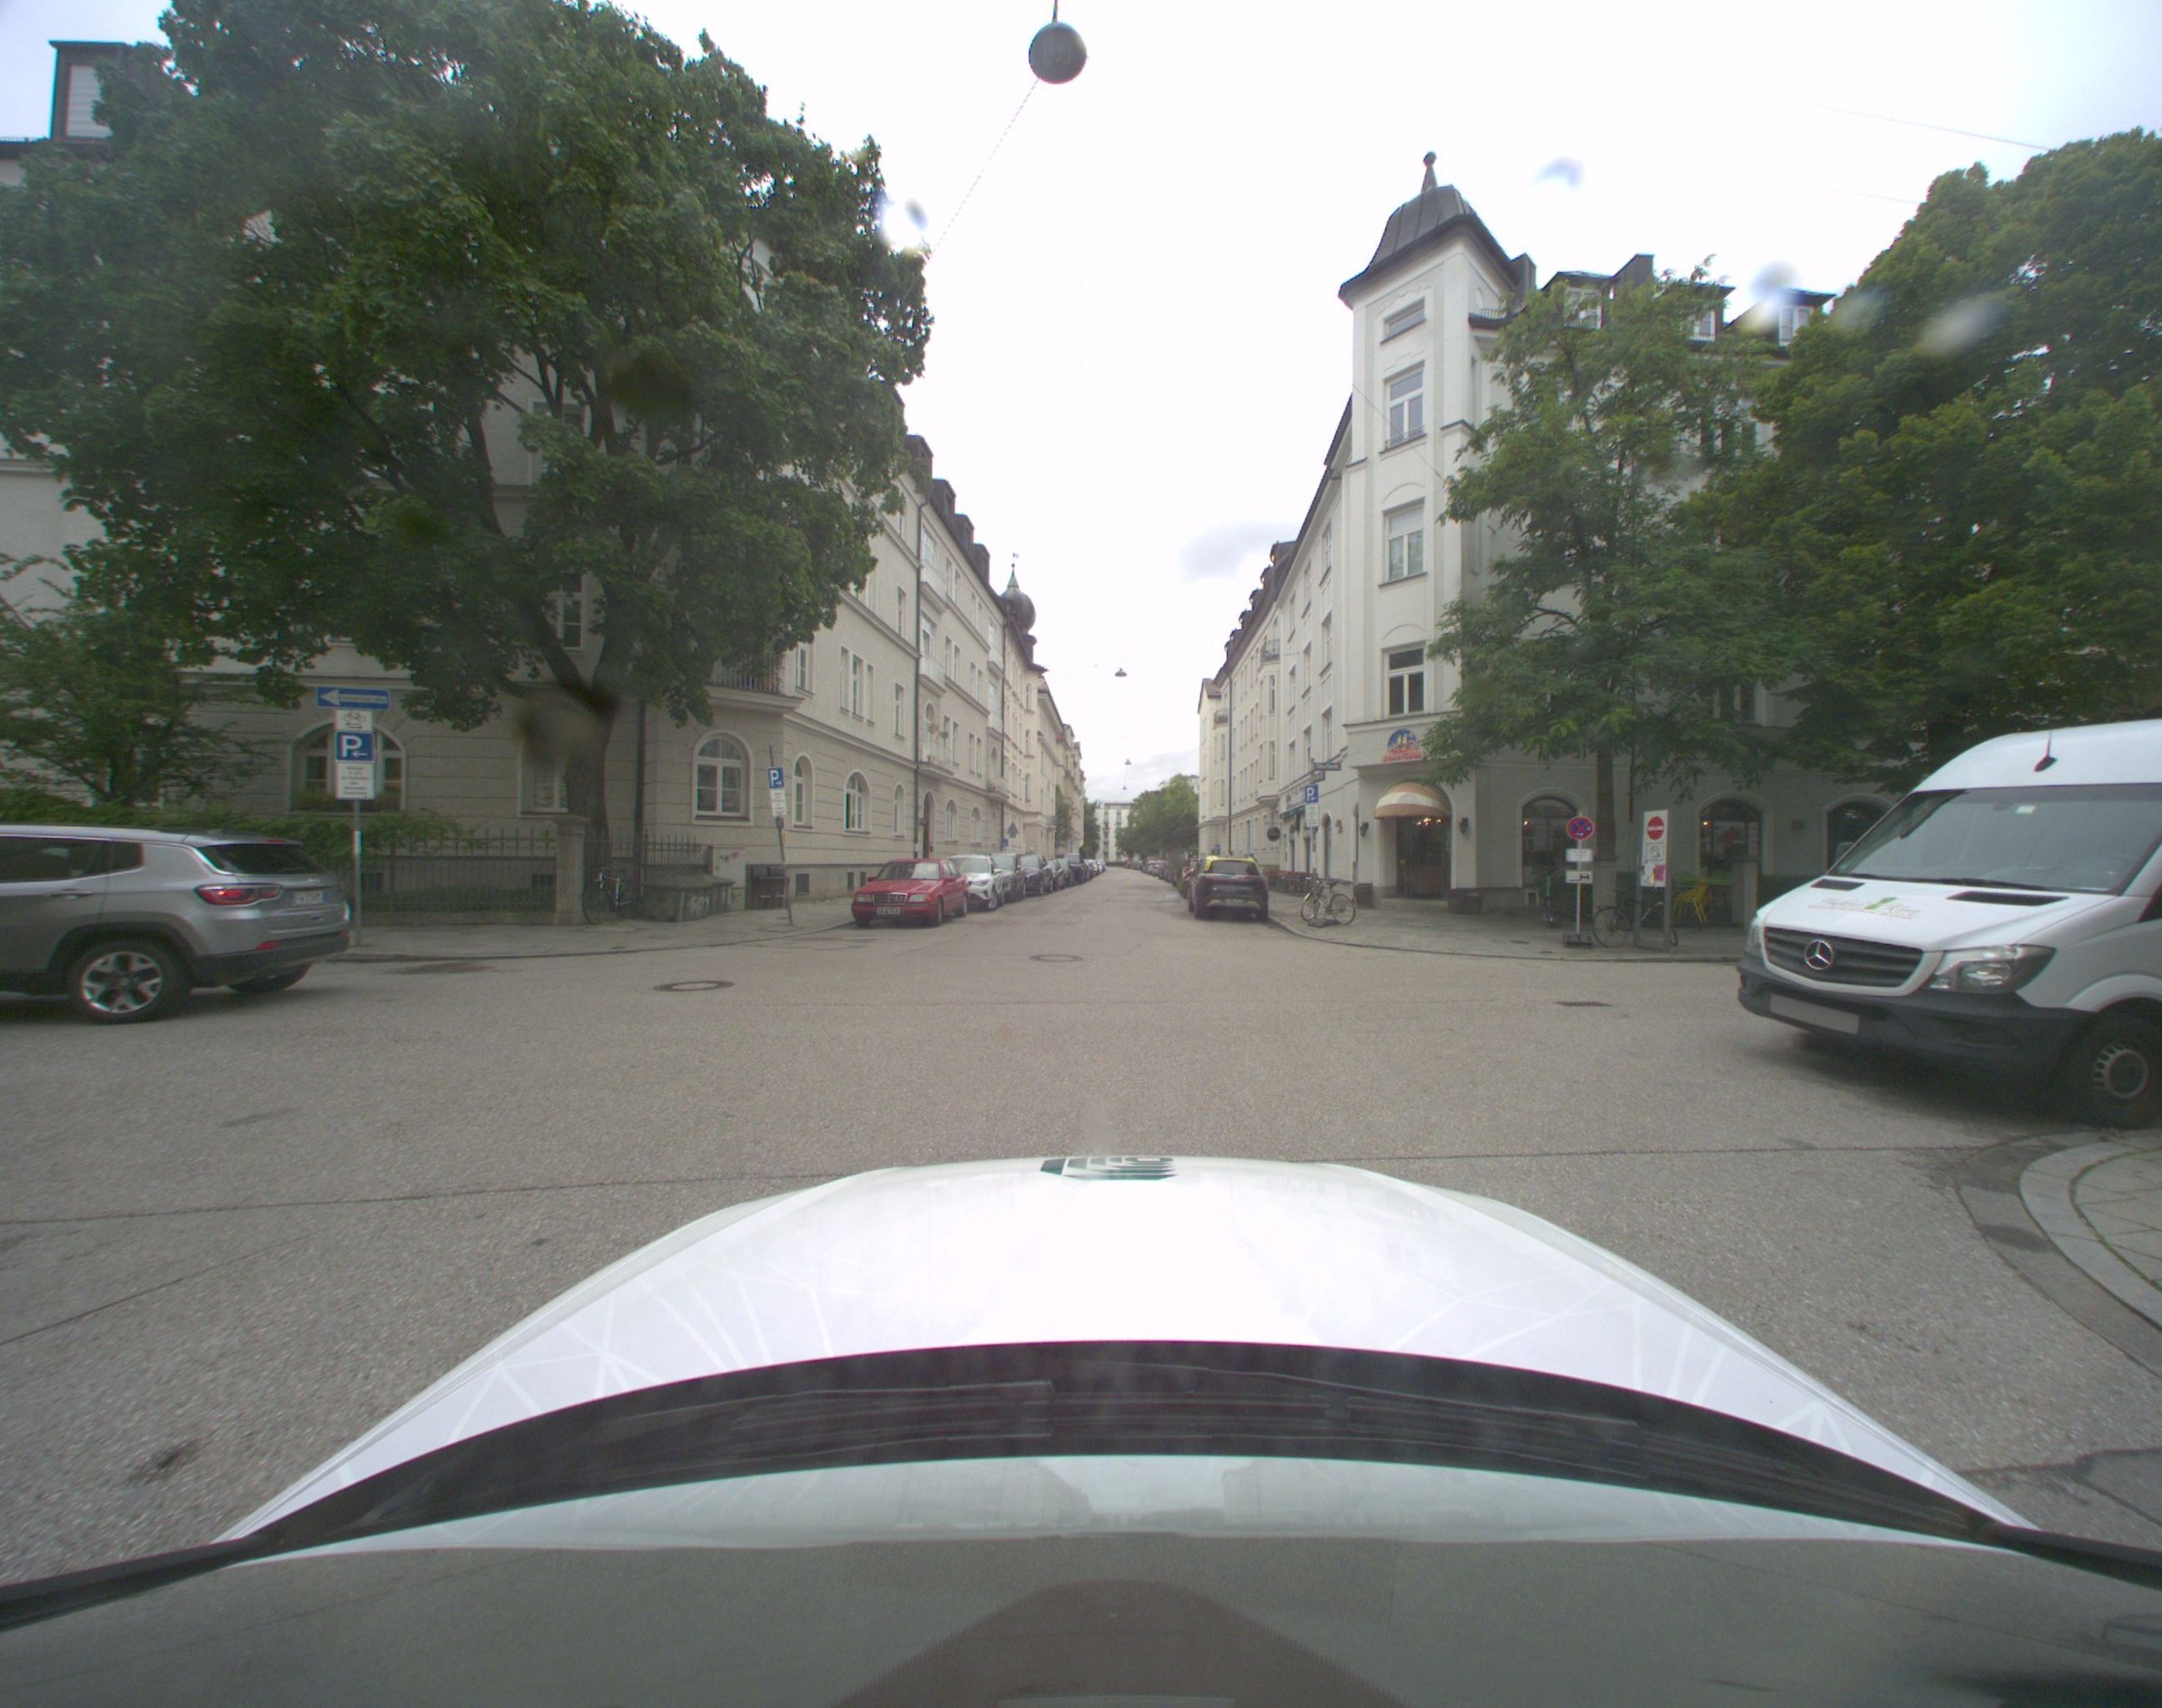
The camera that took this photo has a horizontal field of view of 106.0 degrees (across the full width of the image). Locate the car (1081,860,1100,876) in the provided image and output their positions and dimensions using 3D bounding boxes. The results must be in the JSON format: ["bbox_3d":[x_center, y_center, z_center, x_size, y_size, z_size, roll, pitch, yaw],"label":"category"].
[{"bbox_3d":[0.946,1.329,78.720,1.727,1.420,4.001,1,0,1],"label":"car"}]

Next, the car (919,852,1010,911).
[{"bbox_3d":[-3.129,0.707,22.762,1.988,1.473,4.216,1,0,-1],"label":"car"}]

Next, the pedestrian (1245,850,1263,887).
[{"bbox_3d":[9.003,0.741,42.356,0.774,1.851,1.024,0,0,5],"label":"pedestrian"}]

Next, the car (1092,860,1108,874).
[{"bbox_3d":[2.349,1.590,99.750,1.986,1.574,4.001,1,0,1],"label":"car"}]

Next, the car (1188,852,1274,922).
[{"bbox_3d":[3.957,0.827,22.148,1.812,1.636,4.294,3,0,4],"label":"car"}]

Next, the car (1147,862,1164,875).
[{"bbox_3d":[8.276,1.625,90.915,1.723,1.417,3.854,1,0,2],"label":"car"}]

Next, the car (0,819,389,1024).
[{"bbox_3d":[-9.211,0.526,7.159,4.306,1.607,1.952,0,0,-18],"label":"car"}]

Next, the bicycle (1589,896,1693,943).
[{"bbox_3d":[9.831,1.150,14.342,1.404,0.783,0.546,-1,-1,12],"label":"bicycle"}]

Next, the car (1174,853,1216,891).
[{"bbox_3d":[5.879,0.897,42.455,1.983,1.856,4.352,1,0,6],"label":"car"}]

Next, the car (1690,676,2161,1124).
[{"bbox_3d":[8.082,0.280,5.993,5.883,2.591,2.056,1,1,-5],"label":"car"}]

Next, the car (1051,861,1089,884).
[{"bbox_3d":[-0.640,1.078,49.405,1.897,1.329,4.005,1,0,5],"label":"car"}]

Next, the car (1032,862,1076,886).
[{"bbox_3d":[-1.434,1.091,44.742,1.897,1.222,4.005,1,0,5],"label":"car"}]

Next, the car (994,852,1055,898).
[{"bbox_3d":[-2.185,0.801,32.533,1.986,1.676,4.291,1,0,2],"label":"car"}]

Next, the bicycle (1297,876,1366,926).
[{"bbox_3d":[5.607,1.027,18.336,0.541,0.999,1.744,-3,1,-19],"label":"bicycle"}]

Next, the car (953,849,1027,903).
[{"bbox_3d":[-2.990,0.714,27.581,1.986,1.676,4.013,1,0,1],"label":"car"}]

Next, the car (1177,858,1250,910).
[{"bbox_3d":[4.296,0.920,27.083,1.967,1.498,4.642,3,0,4],"label":"car"}]

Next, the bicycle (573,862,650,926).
[{"bbox_3d":[-8.711,0.712,15.199,0.492,1.052,1.824,1,2,-4],"label":"bicycle"}]

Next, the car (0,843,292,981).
[{"bbox_3d":[-12.047,0.608,9.414,3.979,1.449,1.683,1,0,-5],"label":"car"}]

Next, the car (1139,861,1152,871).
[{"bbox_3d":[10.780,1.993,136.137,1.942,1.652,4.002,-1,-1,2],"label":"car"}]

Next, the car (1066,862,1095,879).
[{"bbox_3d":[-0.007,1.220,61.193,1.898,1.222,4.003,1,0,3],"label":"car"}]

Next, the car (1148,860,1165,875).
[{"bbox_3d":[10.083,1.787,108.929,1.985,1.982,4.896,1,0,2],"label":"car"}]

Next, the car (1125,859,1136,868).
[{"bbox_3d":[10.698,1.992,175.572,1.987,1.982,4.893,1,0,1],"label":"car"}]

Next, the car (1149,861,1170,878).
[{"bbox_3d":[7.705,1.472,80.193,1.899,1.576,4.002,1,0,2],"label":"car"}]

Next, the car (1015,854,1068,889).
[{"bbox_3d":[-1.819,0.787,38.687,1.916,1.546,4.006,1,0,5],"label":"car"}]

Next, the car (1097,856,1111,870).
[{"bbox_3d":[3.335,1.269,117.944,1.839,2.014,4.002,1,0,2],"label":"car"}]

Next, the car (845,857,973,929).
[{"bbox_3d":[-3.623,0.765,17.938,1.724,1.378,4.229,1,0,2],"label":"car"}]

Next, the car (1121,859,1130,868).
[{"bbox_3d":[10.162,2.076,186.521,1.987,1.982,4.893,1,0,1],"label":"car"}]

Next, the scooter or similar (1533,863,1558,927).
[{"bbox_3d":[9.943,0.860,17.457,0.423,1.279,1.287,1,1,29],"label":"scooter or similar"}]

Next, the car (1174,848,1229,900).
[{"bbox_3d":[4.702,0.748,32.335,1.812,1.871,4.294,3,0,4],"label":"car"}]

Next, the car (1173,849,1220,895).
[{"bbox_3d":[5.282,0.813,37.758,1.812,1.923,4.188,3,0,4],"label":"car"}]

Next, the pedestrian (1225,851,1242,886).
[{"bbox_3d":[8.016,0.760,42.926,0.774,1.851,1.024,0,0,5],"label":"pedestrian"}]

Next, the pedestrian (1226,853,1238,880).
[{"bbox_3d":[10.482,0.848,56.623,0.773,1.851,0.862,0,0,12],"label":"pedestrian"}]
